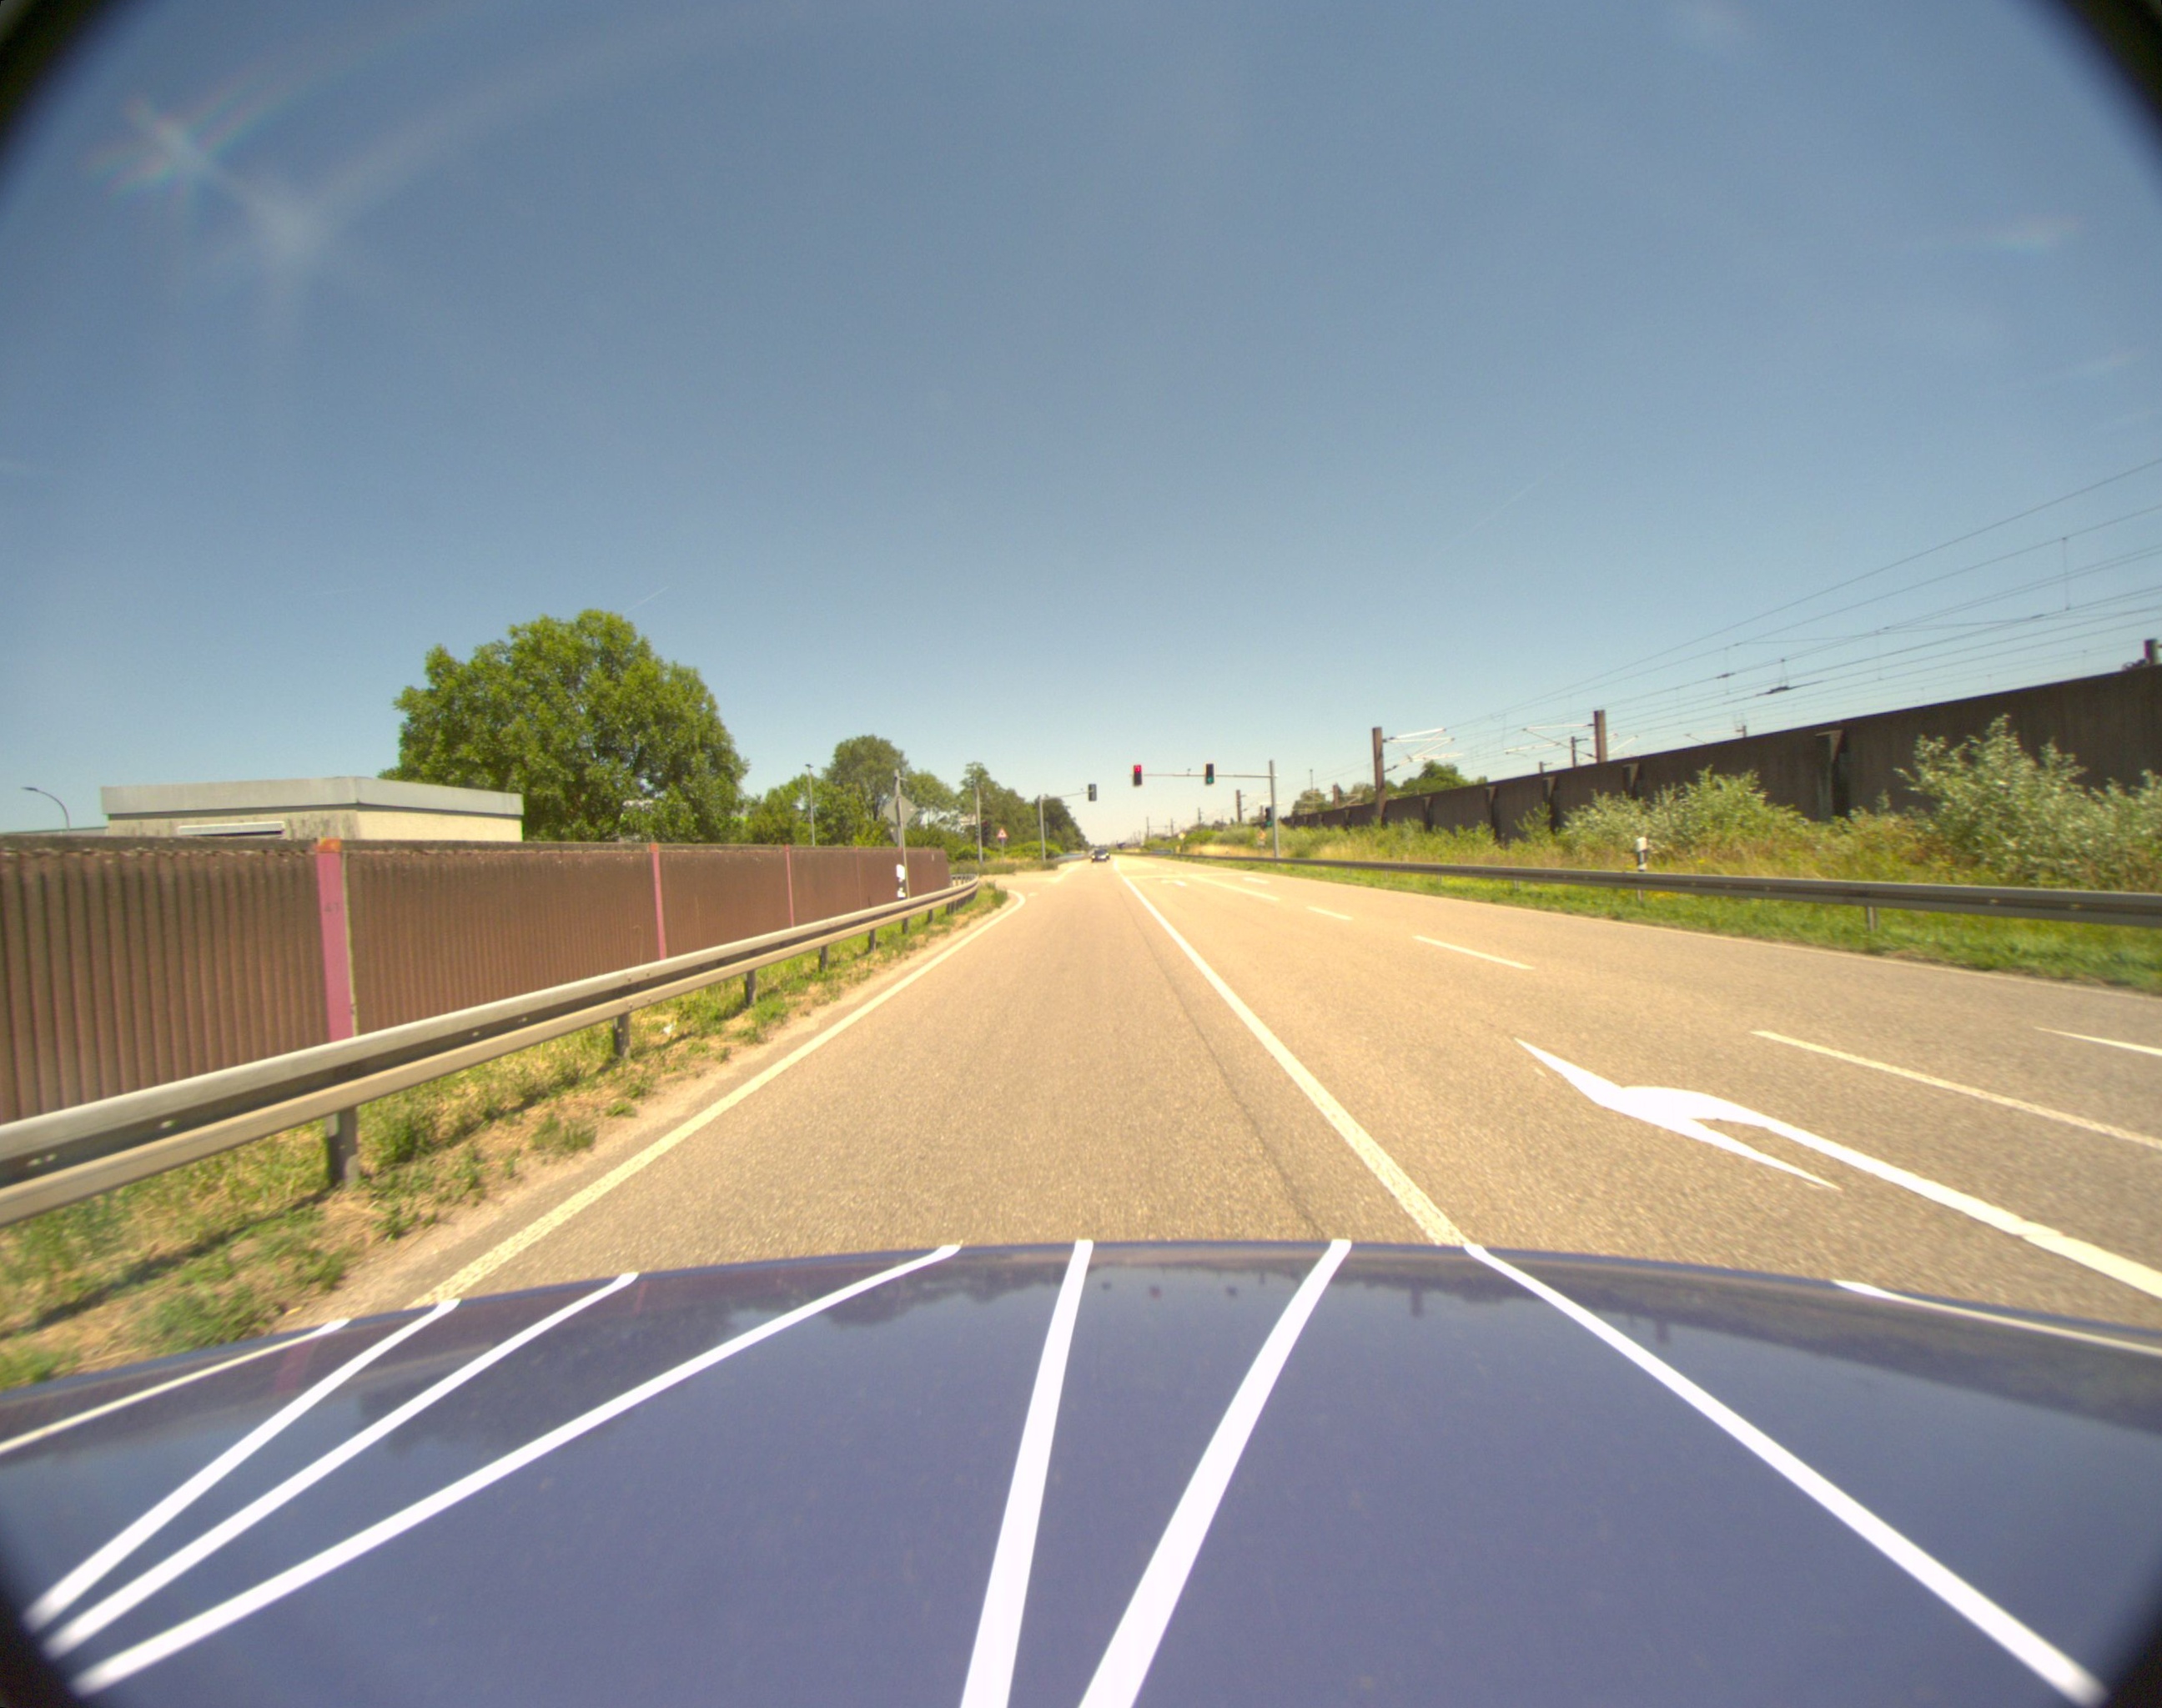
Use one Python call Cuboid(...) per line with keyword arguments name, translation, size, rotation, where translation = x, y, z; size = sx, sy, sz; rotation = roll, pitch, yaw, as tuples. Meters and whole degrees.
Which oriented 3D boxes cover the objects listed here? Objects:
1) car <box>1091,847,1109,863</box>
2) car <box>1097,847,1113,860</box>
Cuboid(name="car", translation=(2.198, 0.125, 89.492), size=(1.998, 1.718, 4.000), rotation=(-3, 1, 1))
Cuboid(name="car", translation=(3.480, -0.109, 109.920), size=(1.998, 1.718, 4.000), rotation=(-3, 1, 4))
